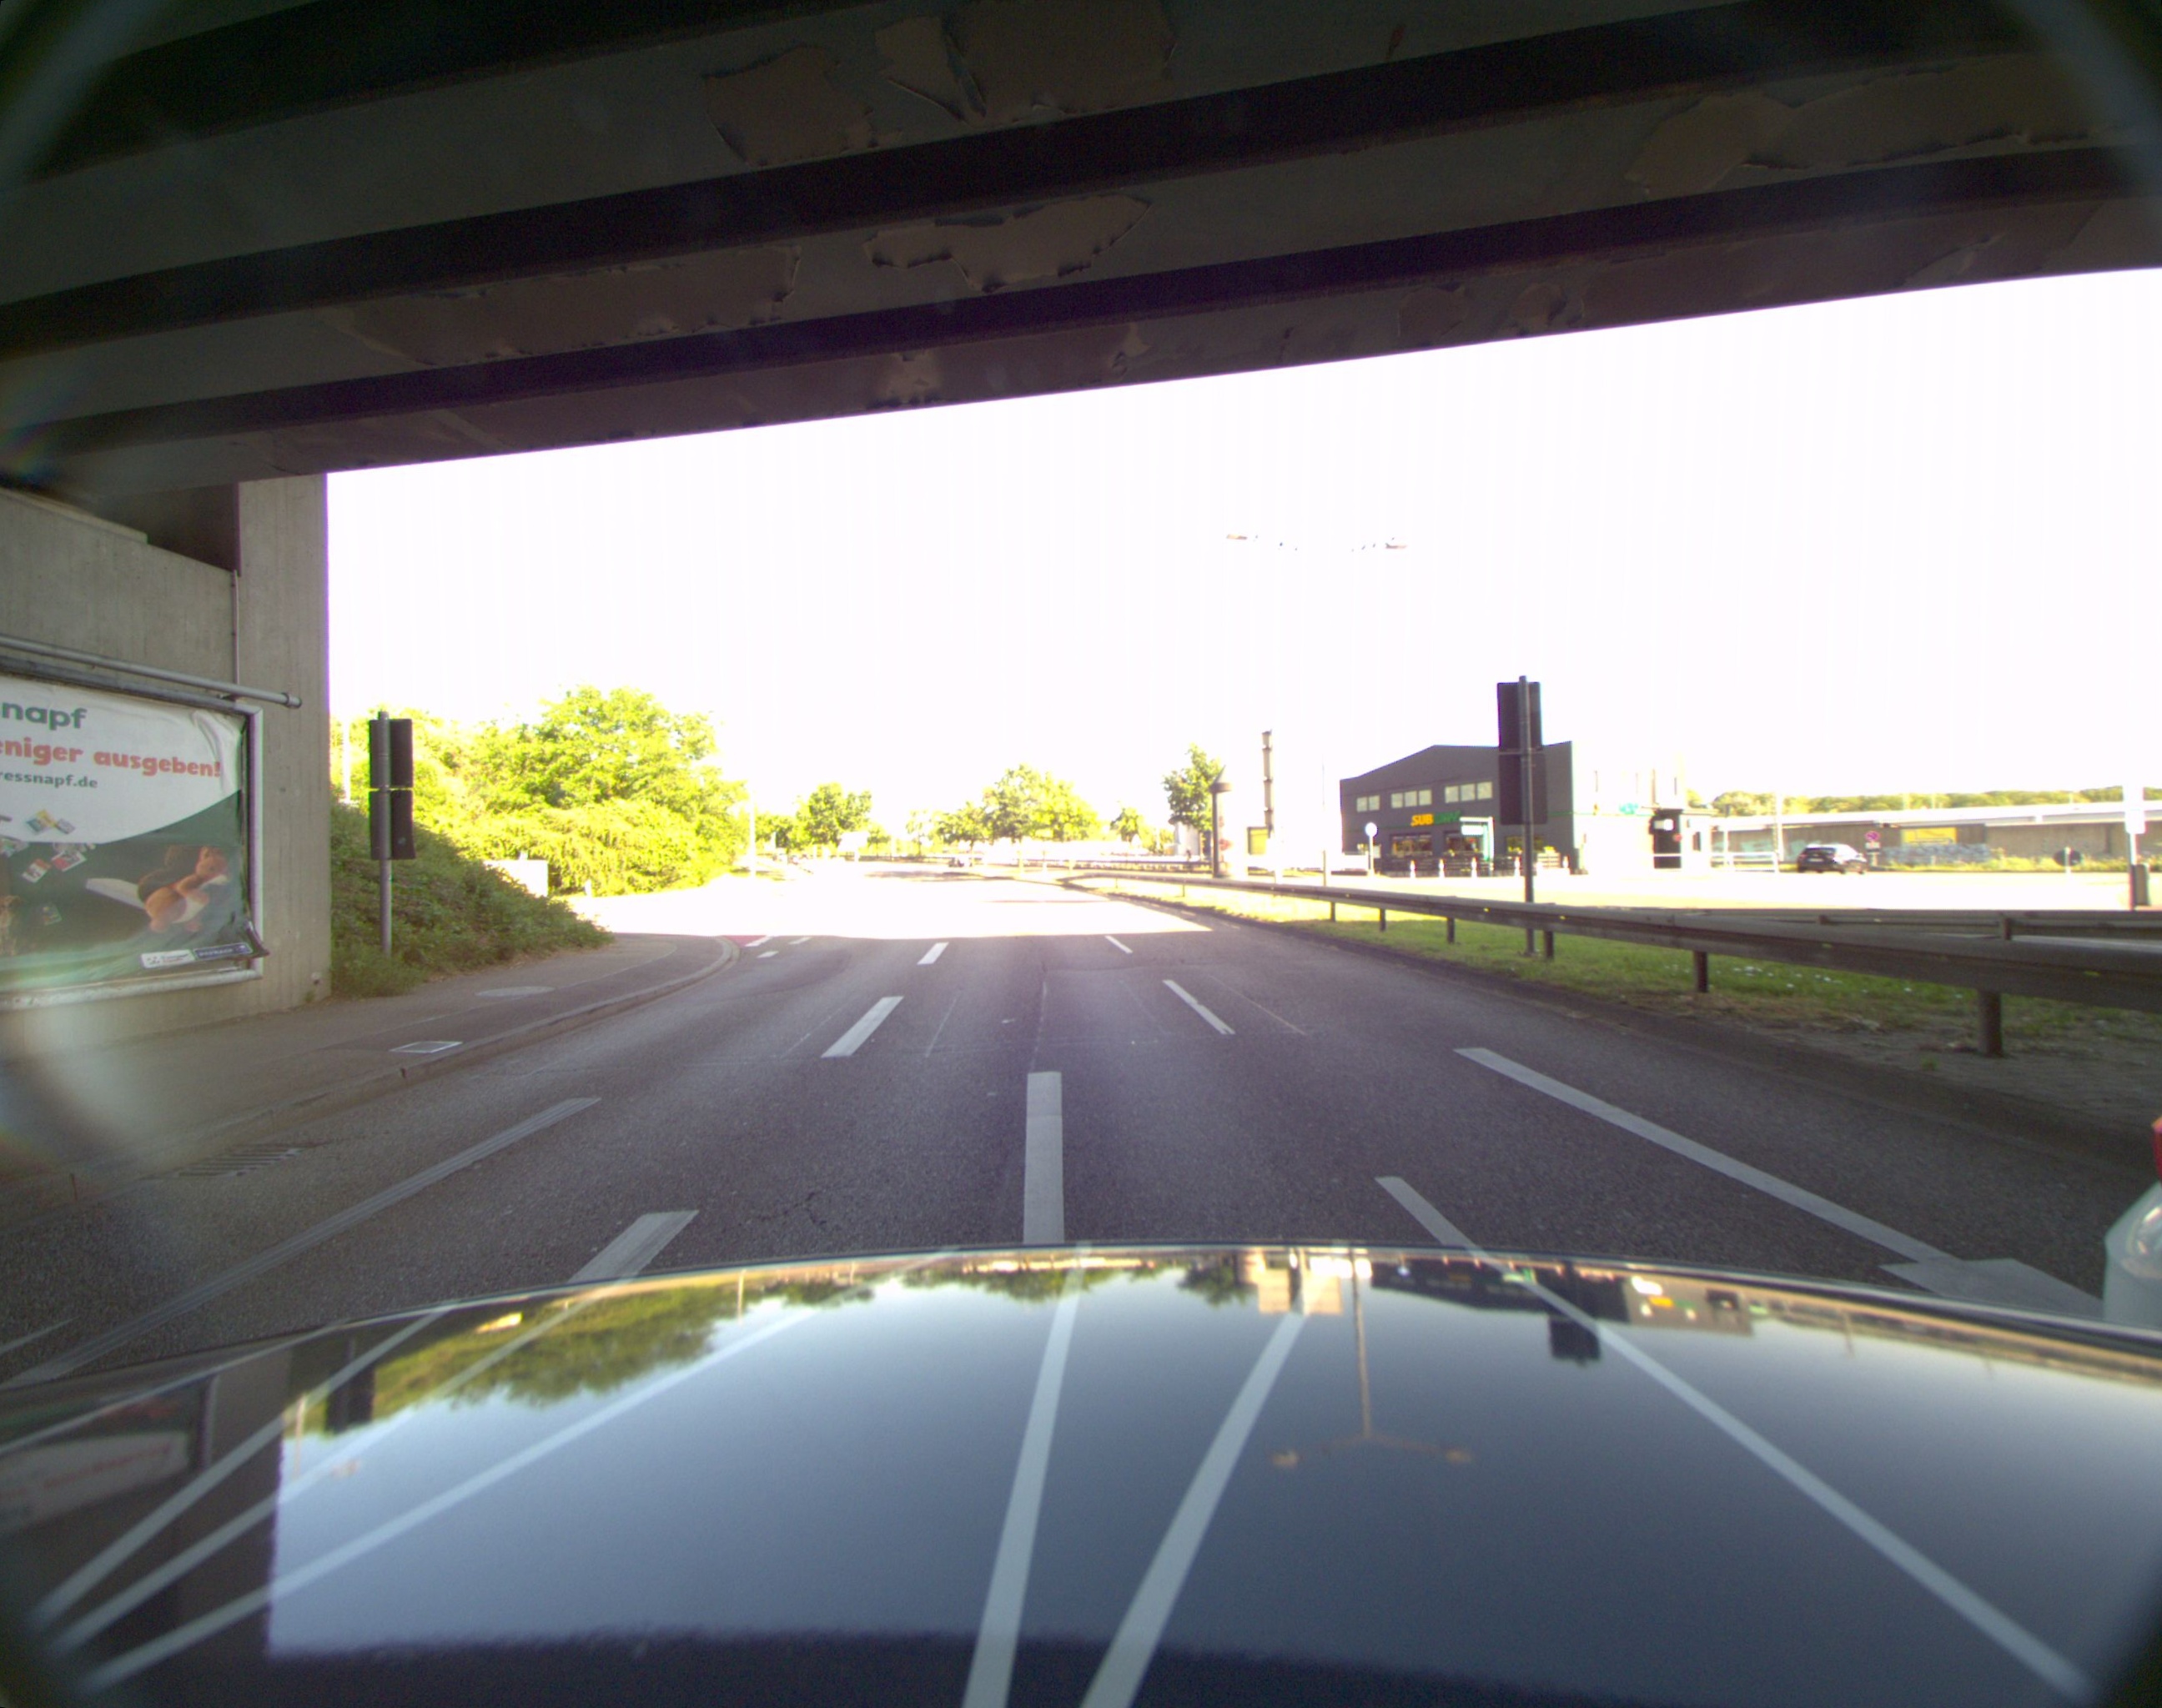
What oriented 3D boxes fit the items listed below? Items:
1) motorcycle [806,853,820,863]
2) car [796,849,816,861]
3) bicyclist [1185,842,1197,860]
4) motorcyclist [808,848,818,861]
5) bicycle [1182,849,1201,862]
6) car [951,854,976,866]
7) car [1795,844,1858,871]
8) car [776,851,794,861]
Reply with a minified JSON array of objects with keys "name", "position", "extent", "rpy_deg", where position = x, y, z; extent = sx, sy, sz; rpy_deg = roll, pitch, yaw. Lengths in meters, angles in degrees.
[{"name":"motorcycle","position":[-44.694,0.633,126.606],"extent":[1.111,1.651,3.146],"rpy_deg":[-3,1,-42]},{"name":"car","position":[-37.783,0.174,104.344],"extent":[1.742,1.411,4.309],"rpy_deg":[-1,-2,-32]},{"name":"bicyclist","position":[8.904,-0.216,61.373],"extent":[0.594,1.419,0.707],"rpy_deg":[-3,1,-28]},{"name":"motorcyclist","position":[-44.621,0.106,126.516],"extent":[1.111,2.228,1.179],"rpy_deg":[-3,2,-41]},{"name":"bicycle","position":[8.925,0.126,61.378],"extent":[0.594,1.017,1.746],"rpy_deg":[-3,1,-28]},{"name":"car","position":[-13.544,0.678,87.309],"extent":[1.750,1.274,4.173],"rpy_deg":[1,0,-26]},{"name":"car","position":[38.281,0.193,39.003],"extent":[4.191,1.274,1.825],"rpy_deg":[1,0,-39]},{"name":"car","position":[-48.048,0.357,123.218],"extent":[1.742,1.411,4.308],"rpy_deg":[-1,-2,-36]}]
